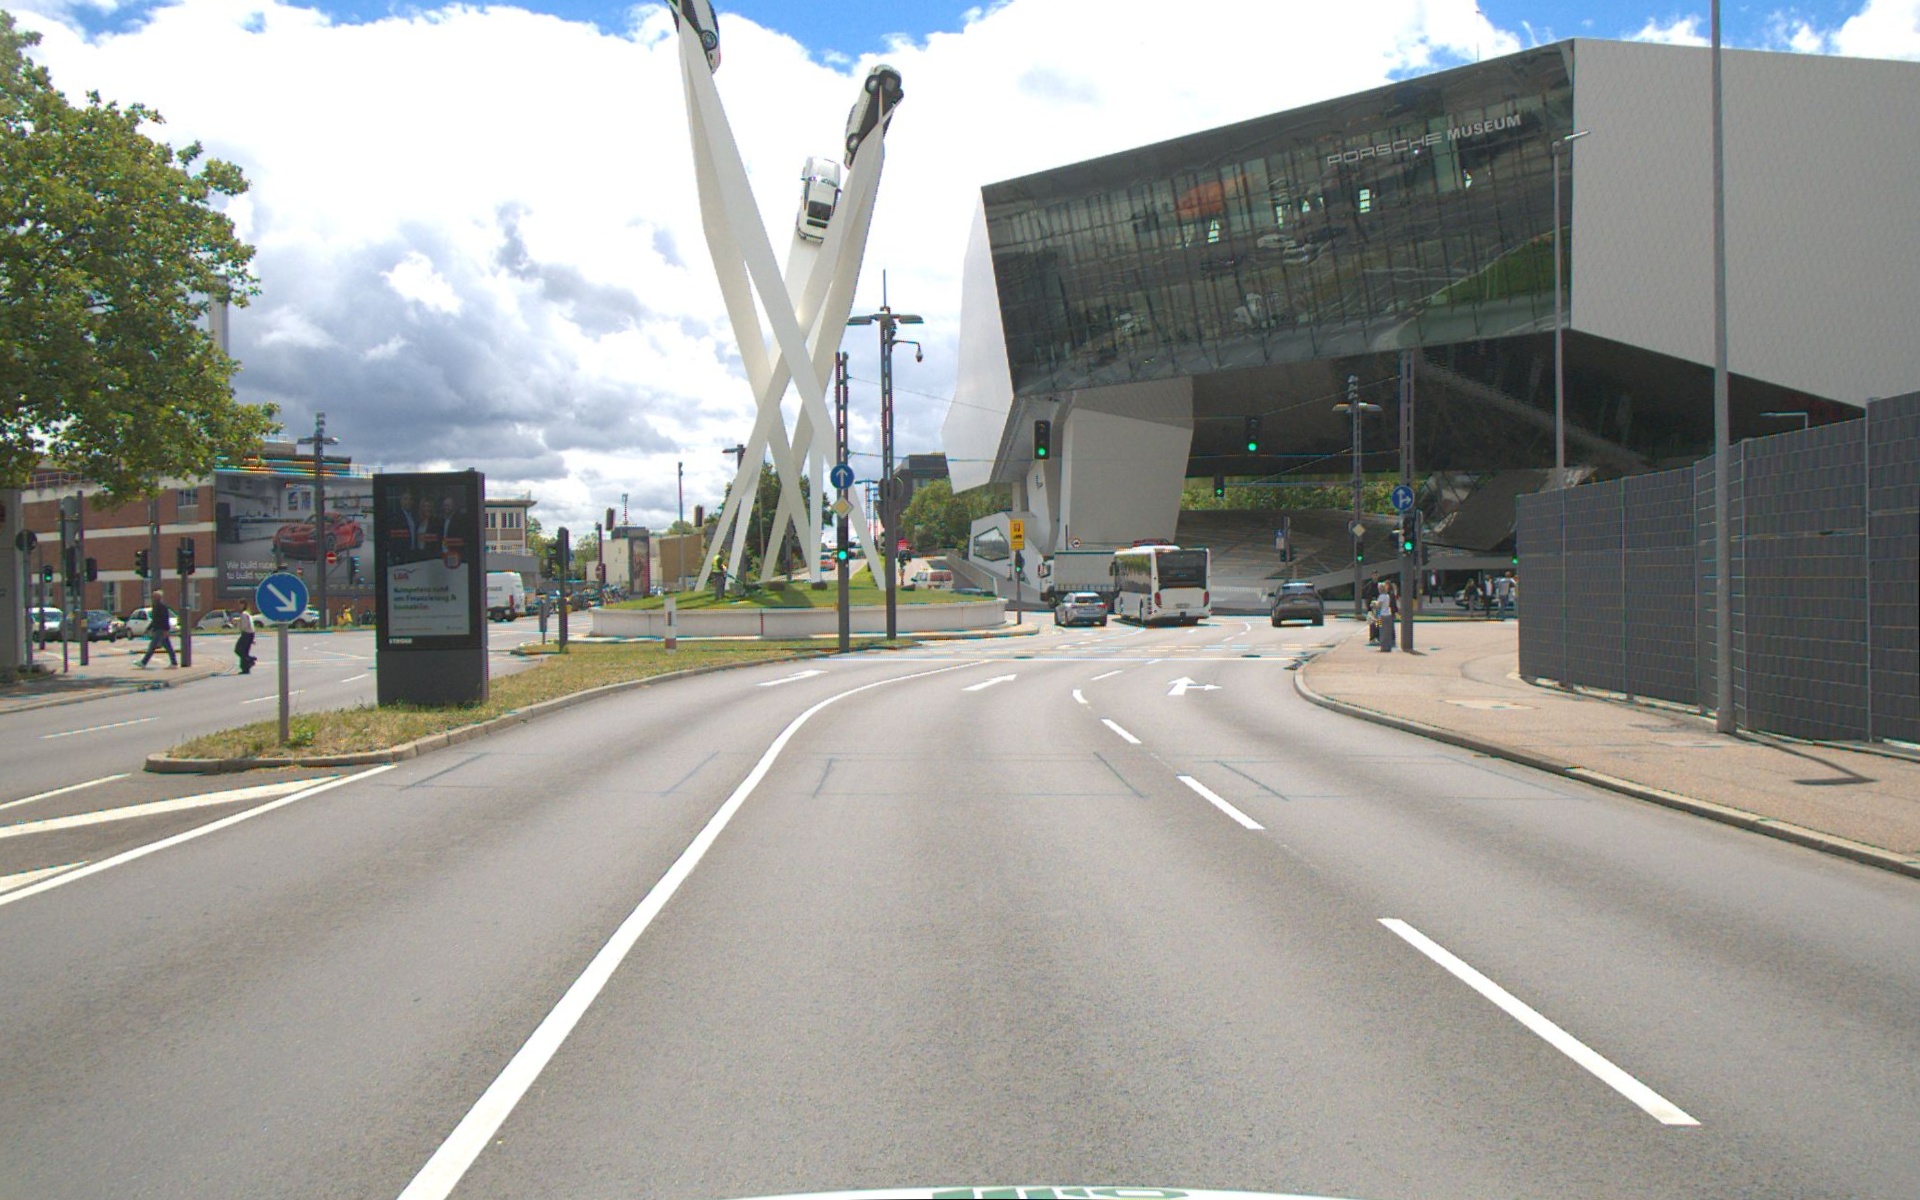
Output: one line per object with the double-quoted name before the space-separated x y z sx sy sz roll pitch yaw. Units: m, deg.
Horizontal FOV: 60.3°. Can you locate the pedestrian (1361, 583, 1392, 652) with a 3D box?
"pedestrian" 10.013 0.424 39.813 0.645 1.636 0.823 0 -1 9

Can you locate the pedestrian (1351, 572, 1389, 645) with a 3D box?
"pedestrian" 10.708 0.226 43.218 0.649 1.899 0.790 1 -1 -16

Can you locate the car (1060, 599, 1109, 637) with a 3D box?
"car" 5.503 0.814 73.626 1.952 1.665 4.000 0 -1 1

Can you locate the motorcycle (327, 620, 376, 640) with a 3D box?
"motorcycle" -37.665 1.873 102.330 2.842 1.217 0.921 0 -1 16

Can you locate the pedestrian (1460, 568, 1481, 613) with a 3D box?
"pedestrian" 21.186 -0.393 68.626 0.661 1.826 0.616 -1 -2 44

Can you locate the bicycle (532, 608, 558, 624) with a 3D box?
"bicycle" -25.522 0.992 101.734 0.483 0.881 1.604 -1 2 38

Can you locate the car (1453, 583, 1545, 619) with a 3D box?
"car" 26.269 0.055 80.719 3.903 1.577 1.839 -2 -1 4

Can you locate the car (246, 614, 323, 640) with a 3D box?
"car" -40.615 1.635 99.471 3.903 1.527 2.001 0 -1 18

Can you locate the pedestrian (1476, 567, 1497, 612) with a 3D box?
"pedestrian" 21.920 -0.424 68.848 0.661 1.879 0.616 -1 -1 43

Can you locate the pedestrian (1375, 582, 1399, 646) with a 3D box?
"pedestrian" 10.976 0.356 42.568 0.454 1.644 0.663 0 -1 0

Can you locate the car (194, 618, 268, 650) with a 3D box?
"car" -37.182 1.720 84.318 3.927 1.604 1.989 0 -1 41

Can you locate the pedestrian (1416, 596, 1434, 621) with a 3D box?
"pedestrian" 29.973 0.533 106.636 0.813 1.600 0.921 1 -1 -11

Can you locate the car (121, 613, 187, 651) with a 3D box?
"car" -40.059 1.561 82.143 1.898 1.828 3.714 1 -1 -44

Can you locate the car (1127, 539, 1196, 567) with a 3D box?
"car" 13.897 -3.242 114.360 4.440 1.418 1.987 9 10 44

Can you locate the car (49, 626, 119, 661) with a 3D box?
"car" -41.492 2.050 78.316 3.890 1.583 1.791 -1 -1 44

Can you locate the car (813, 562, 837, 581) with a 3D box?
"car" -14.949 -3.157 183.008 1.952 2.018 4.840 -2 1 4

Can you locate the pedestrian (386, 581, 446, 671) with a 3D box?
"pedestrian" -12.823 0.618 39.000 0.932 2.091 0.951 0 -1 16

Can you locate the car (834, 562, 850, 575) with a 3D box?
"car" -15.139 -4.045 212.014 1.719 1.422 4.674 0 2 -1

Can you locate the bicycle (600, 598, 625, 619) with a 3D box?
"bicycle" -23.136 0.554 110.088 1.574 1.407 0.492 0 -1 -3

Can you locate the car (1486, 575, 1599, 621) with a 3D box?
"car" 22.638 -0.046 64.319 3.937 1.732 1.984 1 -1 -26

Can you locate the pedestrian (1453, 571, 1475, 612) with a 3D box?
"pedestrian" 20.741 -0.337 68.093 0.666 1.667 0.611 1 -1 -40

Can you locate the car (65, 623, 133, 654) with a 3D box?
"car" -45.816 2.045 88.030 4.147 1.583 1.815 0 -1 41

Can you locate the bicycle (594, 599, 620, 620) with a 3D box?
"bicycle" -23.142 0.605 108.449 1.574 1.339 0.492 0 -1 -3

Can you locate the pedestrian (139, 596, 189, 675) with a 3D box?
"pedestrian" -18.509 0.826 38.488 0.849 1.805 1.031 1 -1 -16

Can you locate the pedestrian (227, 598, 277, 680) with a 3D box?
"pedestrian" -15.725 0.860 36.762 0.849 1.805 1.031 1 -1 -16

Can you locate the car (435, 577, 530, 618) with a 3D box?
"car" -26.211 -0.144 90.851 4.542 2.209 2.001 0 -1 5

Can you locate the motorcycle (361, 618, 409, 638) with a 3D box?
"motorcycle" -36.610 1.766 105.305 2.842 1.217 0.921 0 -1 16

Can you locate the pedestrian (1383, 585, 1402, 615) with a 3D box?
"pedestrian" 21.820 0.006 83.428 0.576 1.522 0.762 1 -1 -34

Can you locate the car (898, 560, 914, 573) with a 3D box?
"car" -6.737 -4.202 206.448 1.953 1.664 4.655 0 1 -1

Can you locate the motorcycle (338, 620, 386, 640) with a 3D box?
"motorcycle" -37.357 1.877 103.305 2.842 1.217 0.921 0 -1 16

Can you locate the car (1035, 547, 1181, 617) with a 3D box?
"car" 7.900 -0.897 89.837 3.300 3.566 9.248 1 -1 -30

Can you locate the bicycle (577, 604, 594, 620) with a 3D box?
"bicycle" -23.928 0.760 105.747 0.480 0.881 1.613 -1 2 9

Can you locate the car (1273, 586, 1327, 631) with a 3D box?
"car" 12.981 0.319 63.350 1.951 1.665 4.003 0 0 10

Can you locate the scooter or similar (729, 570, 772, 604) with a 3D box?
"scooter or similar" -7.490 -0.469 59.050 1.381 1.043 0.546 -5 6 -21

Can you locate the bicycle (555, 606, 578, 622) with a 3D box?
"bicycle" -24.602 0.862 103.378 0.481 0.881 1.610 0 3 25

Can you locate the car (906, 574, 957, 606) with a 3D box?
"car" -1.808 -0.606 104.752 1.965 1.937 3.973 1 -1 -22

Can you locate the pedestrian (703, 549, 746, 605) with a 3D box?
"pedestrian" -8.345 -0.819 58.591 1.262 1.847 0.982 -5 5 -18

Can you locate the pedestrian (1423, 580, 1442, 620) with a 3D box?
"pedestrian" 24.449 -0.001 85.599 0.933 2.019 1.382 0 1 14

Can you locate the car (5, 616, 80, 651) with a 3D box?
"car" -45.572 1.642 82.100 4.214 1.652 1.988 0 -1 41

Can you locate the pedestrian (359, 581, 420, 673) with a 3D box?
"pedestrian" -13.113 0.617 38.027 0.932 2.091 0.951 0 -1 16

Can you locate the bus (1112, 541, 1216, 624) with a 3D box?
"bus" 9.040 -0.622 74.707 3.009 3.421 12.220 0 -1 -1
